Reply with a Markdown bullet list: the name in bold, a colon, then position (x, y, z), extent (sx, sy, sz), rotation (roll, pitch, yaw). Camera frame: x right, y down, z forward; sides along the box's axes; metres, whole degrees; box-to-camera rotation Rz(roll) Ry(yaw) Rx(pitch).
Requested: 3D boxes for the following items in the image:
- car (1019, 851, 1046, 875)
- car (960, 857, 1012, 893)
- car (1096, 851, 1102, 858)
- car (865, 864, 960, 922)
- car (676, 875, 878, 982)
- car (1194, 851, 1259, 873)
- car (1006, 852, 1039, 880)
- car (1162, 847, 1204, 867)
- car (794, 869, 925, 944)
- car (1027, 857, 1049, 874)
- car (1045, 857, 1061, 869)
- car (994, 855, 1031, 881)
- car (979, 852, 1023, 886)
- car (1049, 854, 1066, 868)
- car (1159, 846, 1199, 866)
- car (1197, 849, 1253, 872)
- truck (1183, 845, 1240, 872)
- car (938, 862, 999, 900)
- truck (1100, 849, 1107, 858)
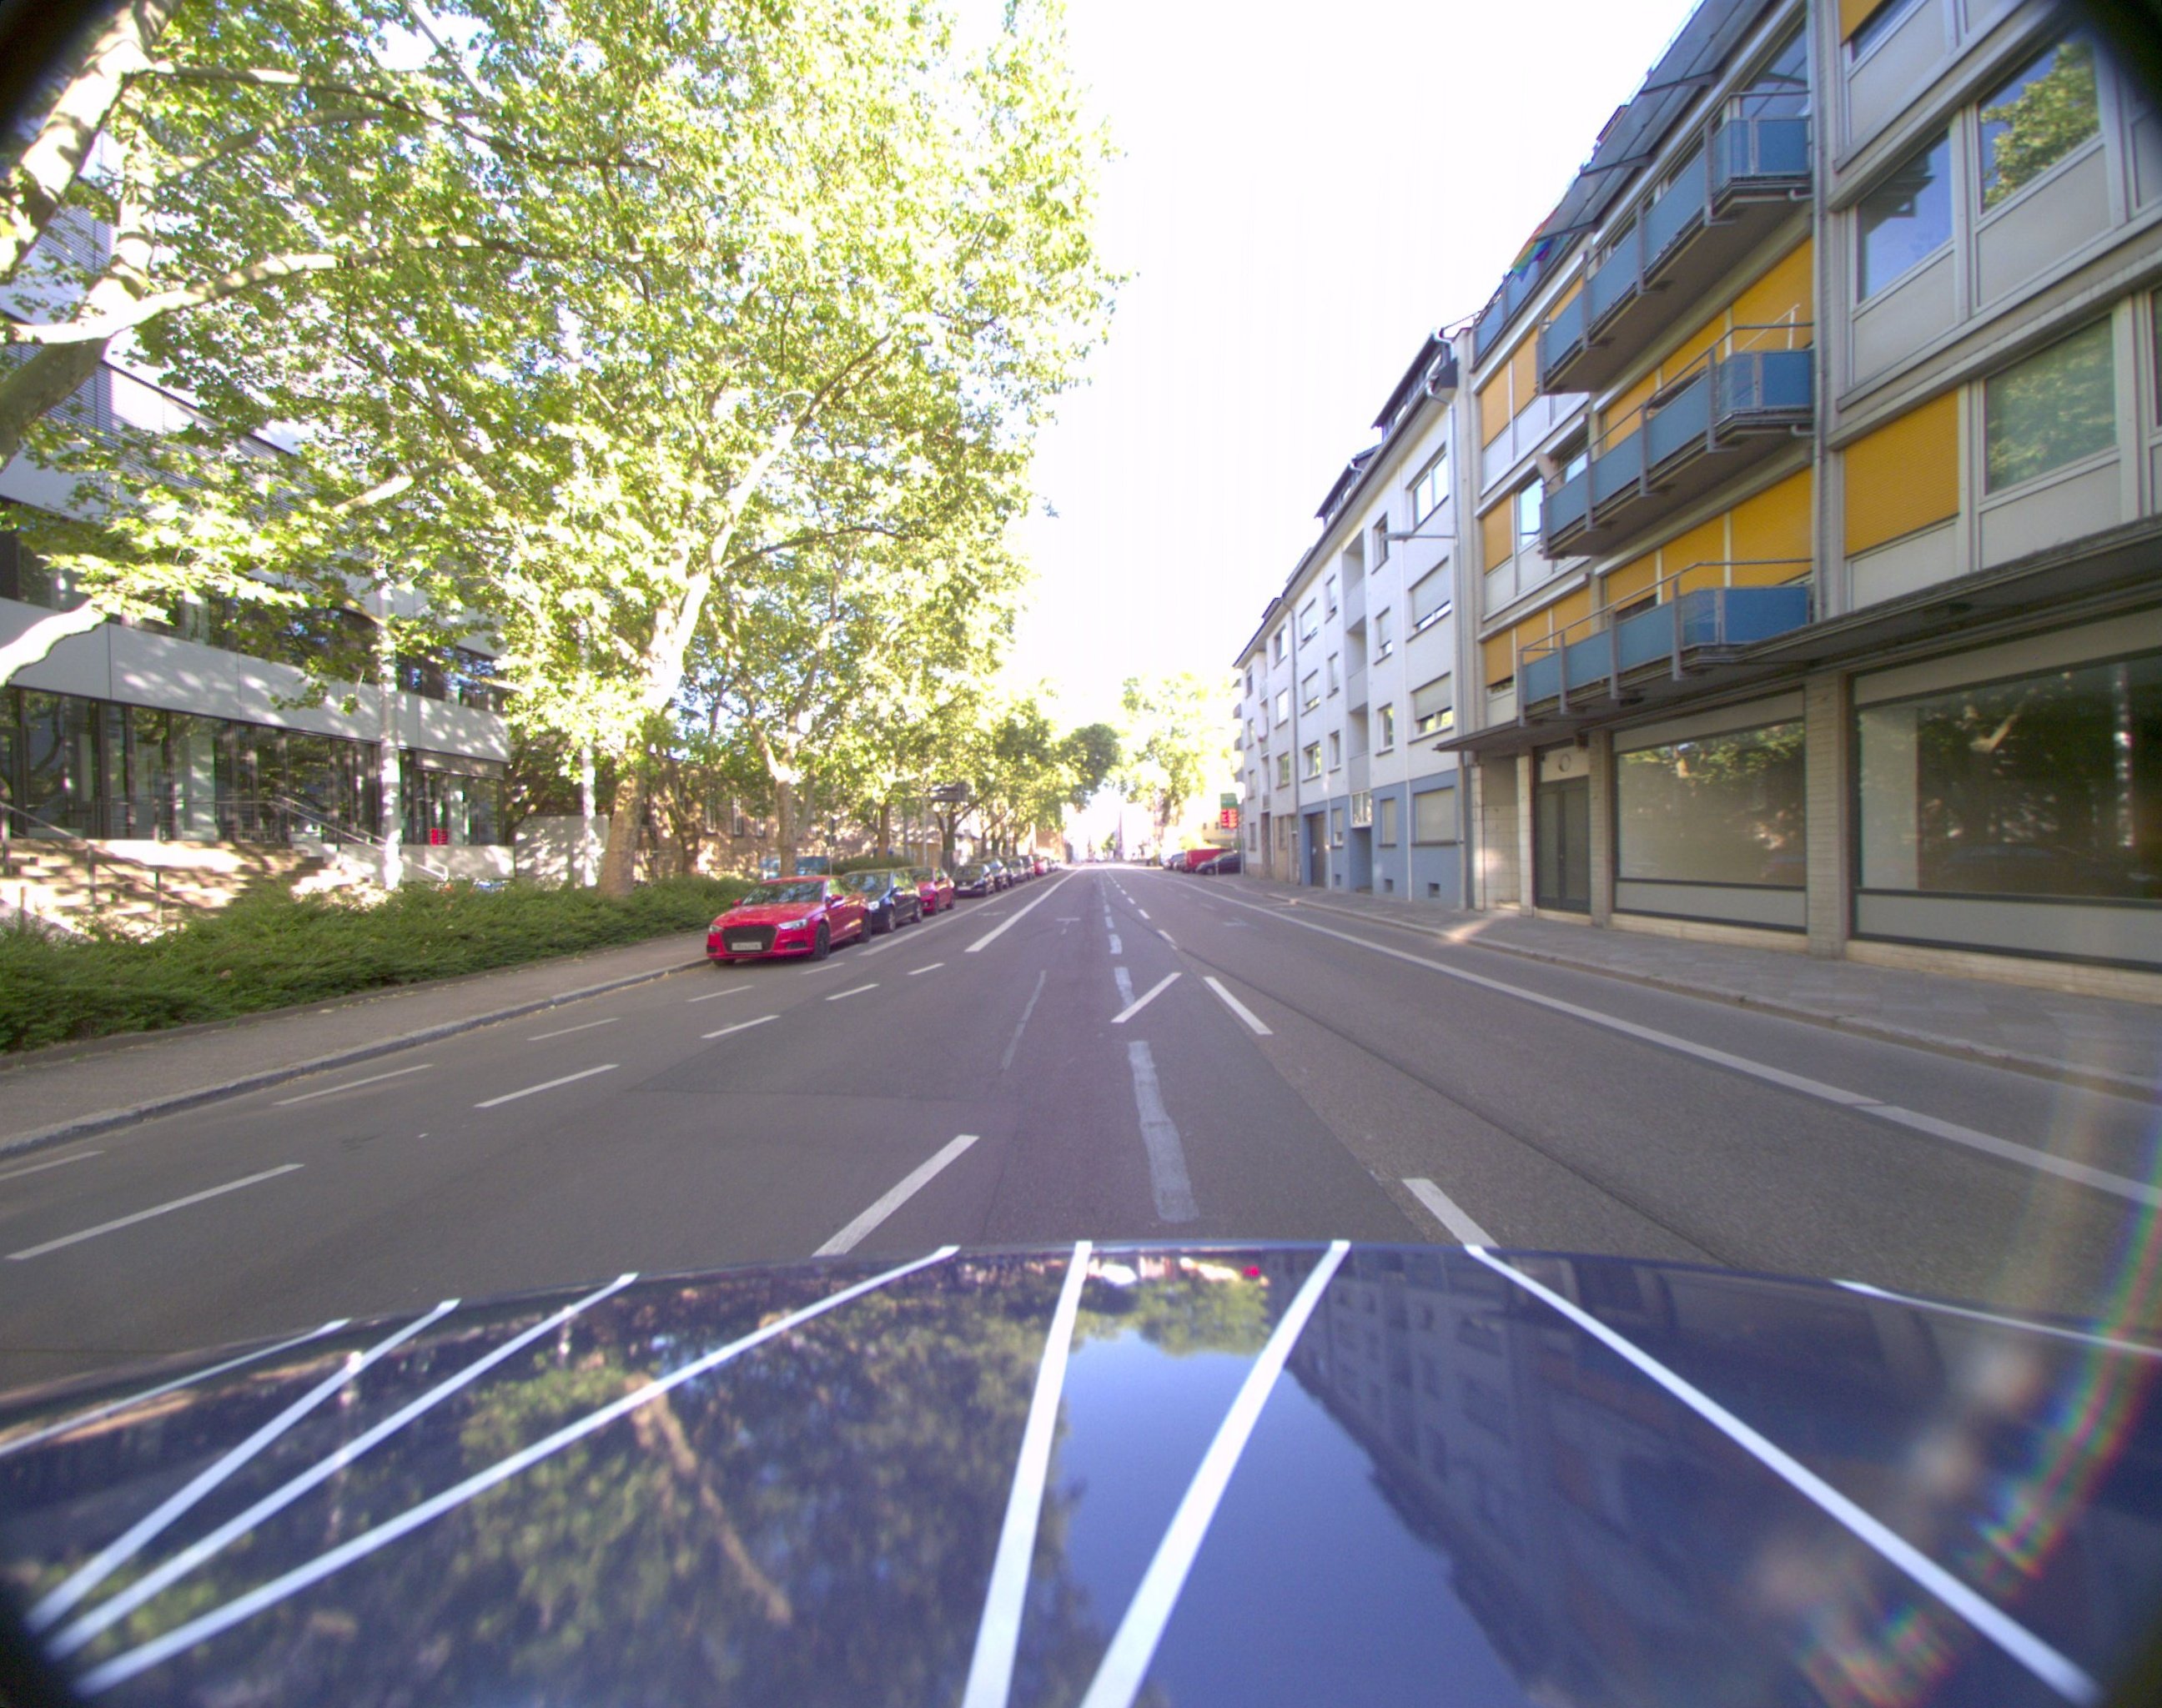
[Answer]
- **car**: position (-4.225, 0.772, 66.395), extent (1.998, 1.960, 3.999), rotation (-2, 1, 1)
- **car**: position (-4.687, 1.005, 38.122), extent (1.998, 1.592, 4.142), rotation (-2, 1, 1)
- **car**: position (6.159, 0.191, 259.451), extent (1.998, 2.002, 3.999), rotation (-2, 1, 1)
- **car**: position (-5.131, 1.149, 23.671), extent (1.998, 1.490, 3.828), rotation (-2, 1, 1)
- **car**: position (-5.190, 1.196, 13.634), extent (1.907, 1.417, 3.999), rotation (-2, 1, 1)
- **car**: position (10.453, 0.572, 54.779), extent (4.324, 1.398, 1.658), rotation (-2, 1, 0)
- **car**: position (-4.241, 0.844, 55.579), extent (1.998, 1.838, 3.999), rotation (-2, 1, 1)
- **car**: position (10.860, 0.283, 80.909), extent (4.236, 1.945, 2.000), rotation (-2, 1, 3)
- **car**: position (-5.175, 1.169, 18.288), extent (1.998, 1.452, 3.644), rotation (-2, 1, 1)
- **car**: position (-4.039, 1.082, 71.993), extent (1.824, 1.466, 3.999), rotation (-2, 1, 1)
- **car**: position (-3.350, 1.070, 92.734), extent (1.693, 1.364, 3.999), rotation (-2, 1, 1)
- **car**: position (-4.532, 0.920, 50.924), extent (1.998, 1.557, 4.142), rotation (-2, 1, 1)
- **car**: position (-4.610, 0.838, 44.513), extent (1.998, 1.777, 4.572), rotation (-2, 1, 1)
- **car**: position (-3.188, 0.907, 103.004), extent (1.998, 1.682, 3.999), rotation (-2, 1, 1)
- **car**: position (10.946, 0.217, 85.310), extent (4.236, 2.025, 2.000), rotation (-2, 1, 3)
- **car**: position (10.798, 0.450, 57.111), extent (3.810, 1.563, 1.658), rotation (-2, 1, 0)
- **truck**: position (10.284, 0.320, 60.208), extent (4.092, 1.913, 2.000), rotation (-2, 1, 0)
- **car**: position (-4.840, 1.129, 33.175), extent (1.998, 1.447, 3.589), rotation (-2, 1, 1)
- **truck**: position (6.872, -0.296, 233.820), extent (1.998, 2.653, 5.314), rotation (-2, 1, 0)
